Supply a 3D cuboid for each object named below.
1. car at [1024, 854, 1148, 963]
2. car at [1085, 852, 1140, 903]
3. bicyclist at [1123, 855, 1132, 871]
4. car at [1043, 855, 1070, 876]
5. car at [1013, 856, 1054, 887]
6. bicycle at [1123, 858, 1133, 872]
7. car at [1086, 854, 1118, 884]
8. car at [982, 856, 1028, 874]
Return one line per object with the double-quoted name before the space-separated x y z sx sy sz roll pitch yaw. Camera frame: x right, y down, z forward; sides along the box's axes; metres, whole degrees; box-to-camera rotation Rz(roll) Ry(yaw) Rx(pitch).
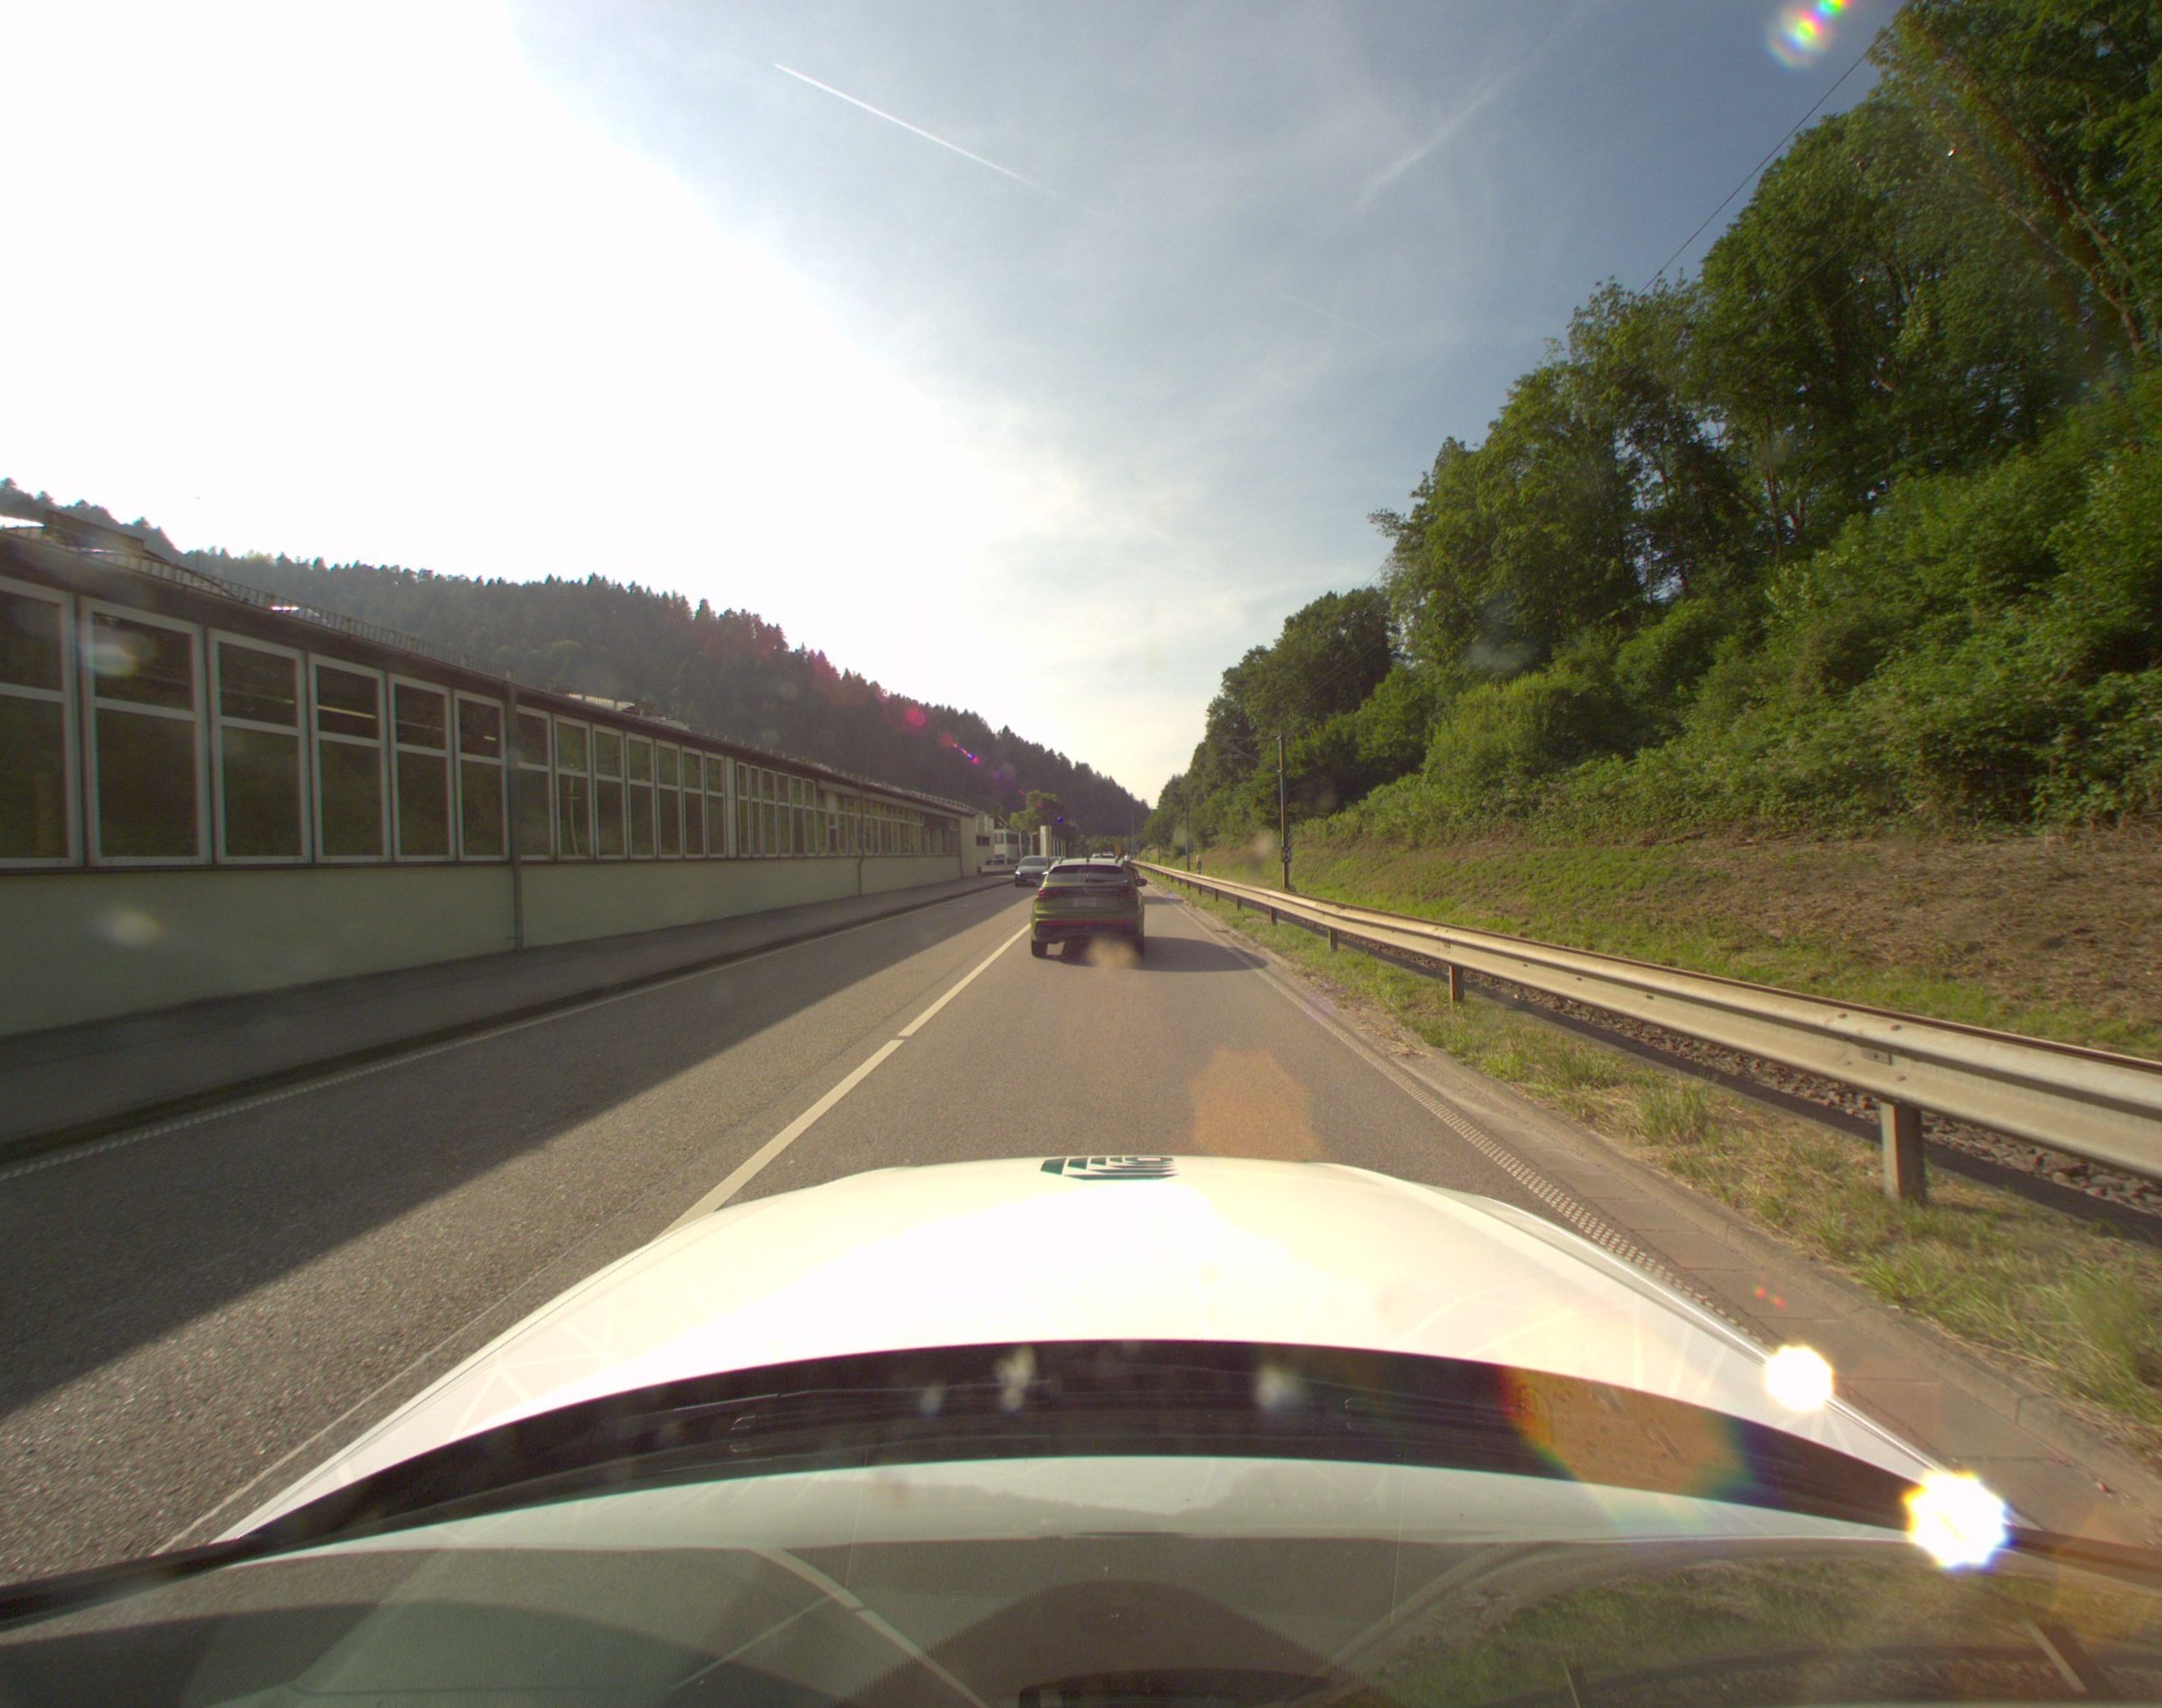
"car" 0.112 0.777 13.544 1.733 1.508 4.001 -1 0 1
"car" 1.030 0.754 28.015 1.733 1.602 4.001 -1 0 1
"bicyclist" 4.344 0.849 75.661 0.779 1.412 0.675 -1 -1 0
"car" -1.744 0.819 59.421 1.767 1.490 4.053 0 0 2
"car" -2.407 0.848 41.891 1.713 1.514 4.200 0 0 2
"bicycle" 4.348 1.020 75.385 0.809 1.250 2.122 -1 0 0
"car" 1.162 0.819 46.455 1.733 1.602 4.001 -1 0 1
"car" -7.348 1.079 79.149 1.865 1.592 4.200 -2 0 43
